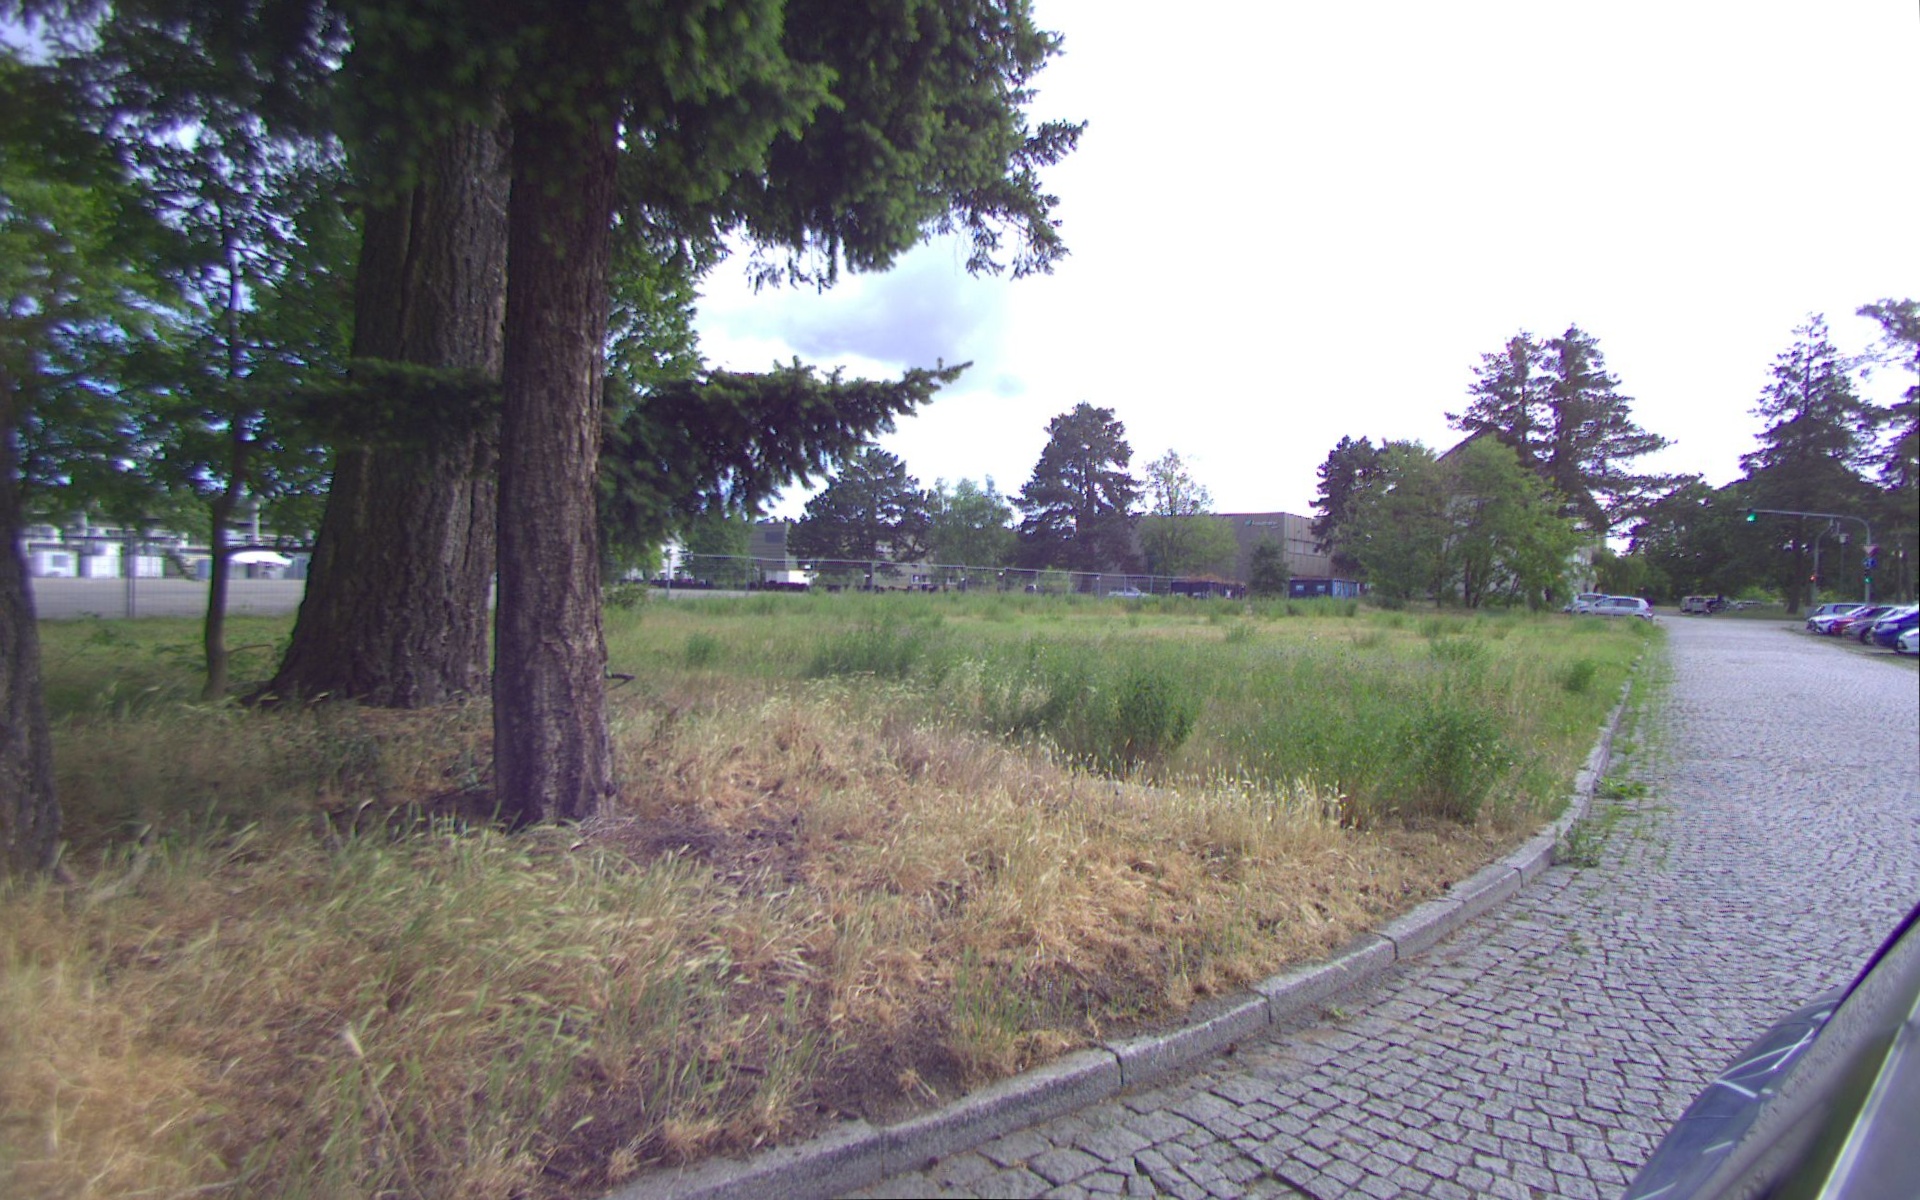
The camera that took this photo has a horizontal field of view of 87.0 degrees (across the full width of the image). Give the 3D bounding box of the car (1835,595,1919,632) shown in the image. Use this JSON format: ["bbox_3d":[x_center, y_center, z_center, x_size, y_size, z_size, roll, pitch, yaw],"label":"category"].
[{"bbox_3d":[38.977,0.547,42.147,3.541,1.434,1.622,-2,0,29],"label":"car"}]

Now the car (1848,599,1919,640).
[{"bbox_3d":[35.538,0.706,37.542,3.568,1.438,1.602,-1,0,29],"label":"car"}]

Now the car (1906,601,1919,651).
[{"bbox_3d":[29.666,0.699,28.676,3.905,1.410,1.722,-2,0,35],"label":"car"}]

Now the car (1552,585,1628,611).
[{"bbox_3d":[37.629,-0.125,60.546,3.697,1.456,1.611,-1,0,29],"label":"car"}]

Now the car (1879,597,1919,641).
[{"bbox_3d":[34.596,0.642,35.173,3.568,1.472,1.671,-2,0,29],"label":"car"}]

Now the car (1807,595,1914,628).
[{"bbox_3d":[42.755,0.559,48.145,3.547,1.477,1.607,-2,0,34],"label":"car"}]

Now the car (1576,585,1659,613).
[{"bbox_3d":[35.825,-0.041,55.257,3.703,1.456,1.608,-1,1,33],"label":"car"}]

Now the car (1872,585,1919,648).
[{"bbox_3d":[31.144,0.457,30.742,4.803,1.889,2.135,-2,0,35],"label":"car"}]

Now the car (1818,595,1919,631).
[{"bbox_3d":[41.254,0.569,45.650,3.539,1.506,1.587,-2,0,28],"label":"car"}]

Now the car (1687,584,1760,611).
[{"bbox_3d":[79.964,-0.289,106.152,5.750,2.595,2.740,-2,0,31],"label":"car"}]

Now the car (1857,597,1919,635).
[{"bbox_3d":[37.696,0.608,39.633,3.541,1.452,1.590,-2,0,29],"label":"car"}]

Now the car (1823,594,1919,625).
[{"bbox_3d":[45.047,0.470,49.931,3.420,1.450,1.614,-2,0,27],"label":"car"}]

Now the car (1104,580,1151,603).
[{"bbox_3d":[15.130,-0.784,91.548,3.695,1.928,2.002,2,0,-5],"label":"car"}]
